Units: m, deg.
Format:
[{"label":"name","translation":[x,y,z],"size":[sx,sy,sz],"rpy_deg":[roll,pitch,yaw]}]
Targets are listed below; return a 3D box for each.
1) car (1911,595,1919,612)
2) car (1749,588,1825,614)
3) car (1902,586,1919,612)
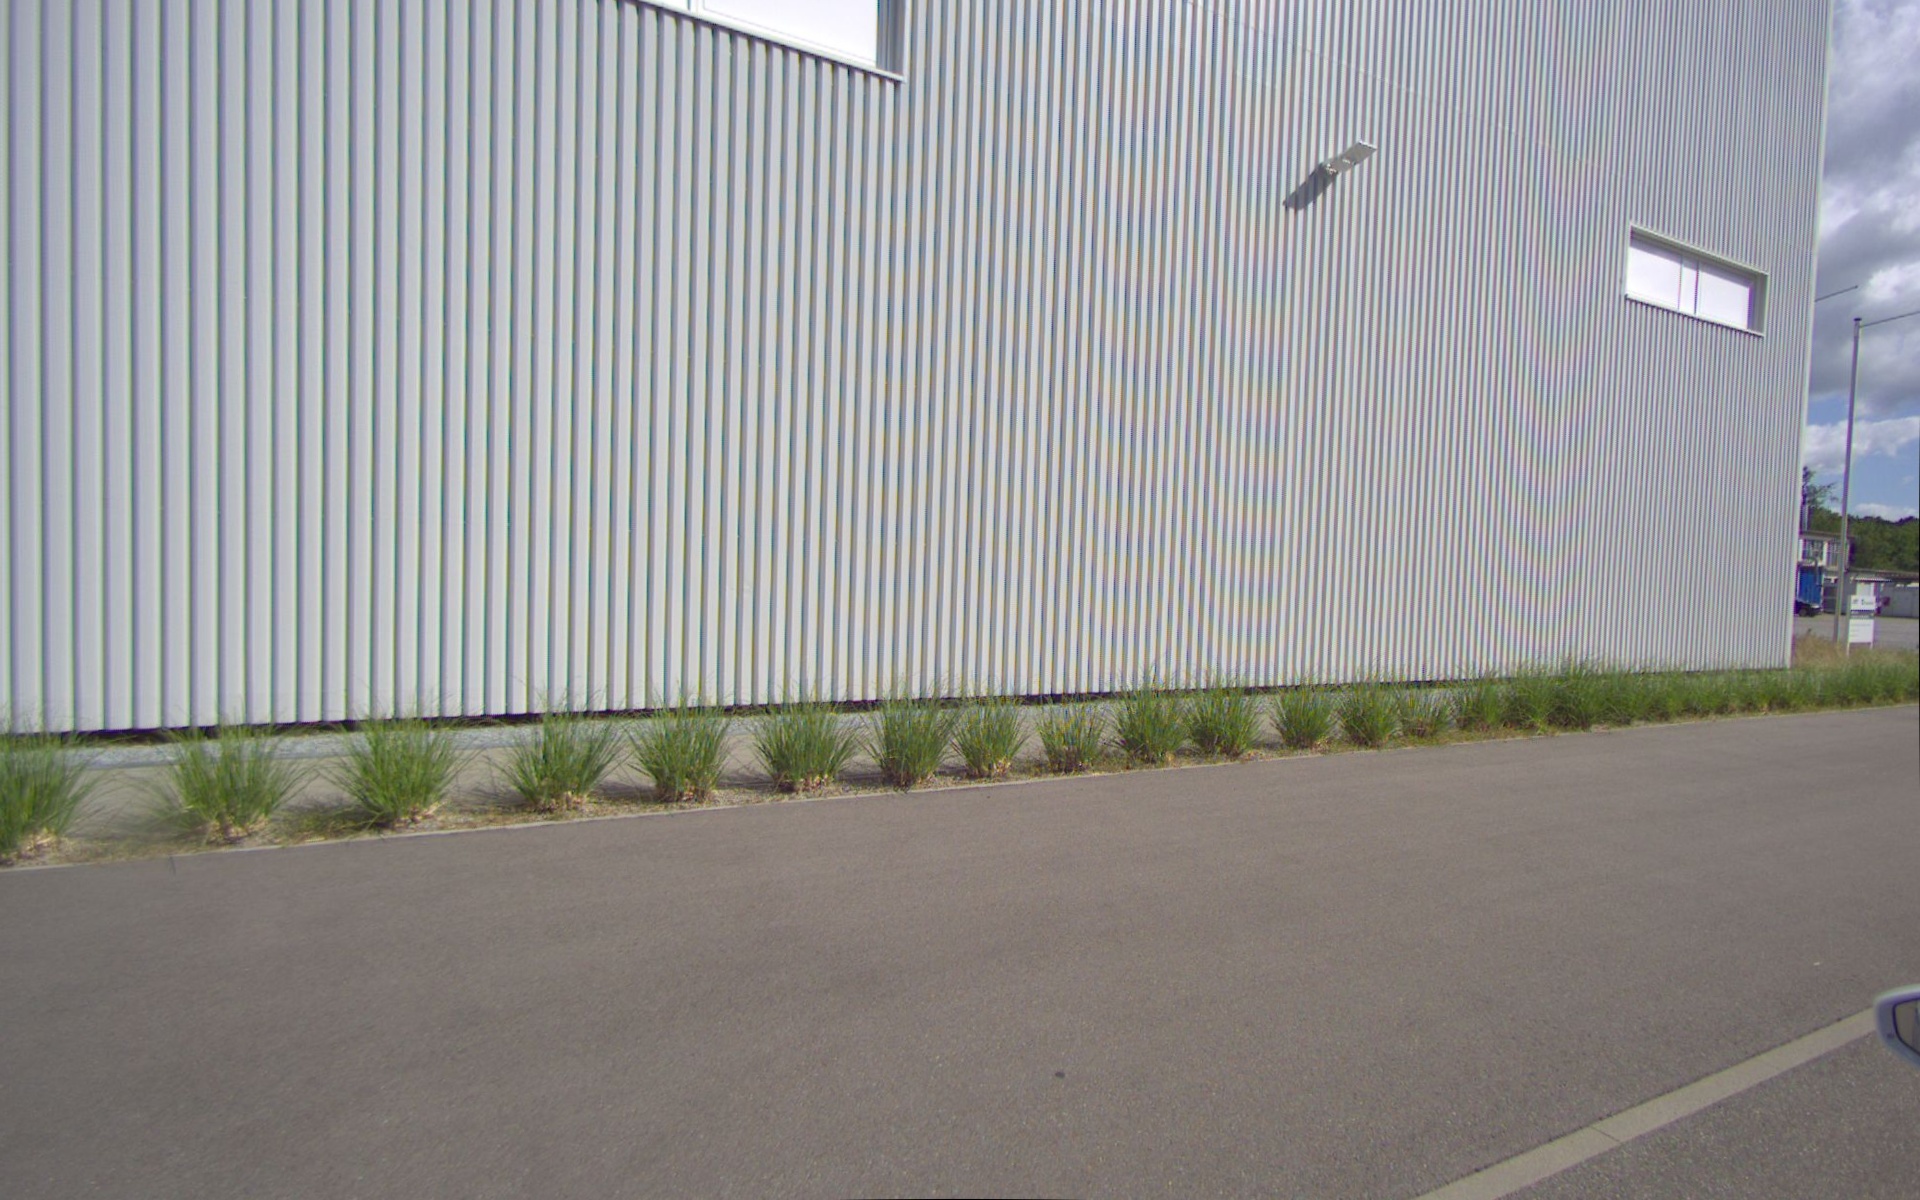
[{"label":"car","translation":[93.624,0.459,95.578],"size":[1.783,1.652,4.097],"rpy_deg":[1,2,-24]},{"label":"car","translation":[65.023,0.066,79.034],"size":[1.763,1.688,4.141],"rpy_deg":[1,3,-30]},{"label":"car","translation":[95.697,0.009,97.864],"size":[2.021,2.475,5.242],"rpy_deg":[1,2,-24]}]
